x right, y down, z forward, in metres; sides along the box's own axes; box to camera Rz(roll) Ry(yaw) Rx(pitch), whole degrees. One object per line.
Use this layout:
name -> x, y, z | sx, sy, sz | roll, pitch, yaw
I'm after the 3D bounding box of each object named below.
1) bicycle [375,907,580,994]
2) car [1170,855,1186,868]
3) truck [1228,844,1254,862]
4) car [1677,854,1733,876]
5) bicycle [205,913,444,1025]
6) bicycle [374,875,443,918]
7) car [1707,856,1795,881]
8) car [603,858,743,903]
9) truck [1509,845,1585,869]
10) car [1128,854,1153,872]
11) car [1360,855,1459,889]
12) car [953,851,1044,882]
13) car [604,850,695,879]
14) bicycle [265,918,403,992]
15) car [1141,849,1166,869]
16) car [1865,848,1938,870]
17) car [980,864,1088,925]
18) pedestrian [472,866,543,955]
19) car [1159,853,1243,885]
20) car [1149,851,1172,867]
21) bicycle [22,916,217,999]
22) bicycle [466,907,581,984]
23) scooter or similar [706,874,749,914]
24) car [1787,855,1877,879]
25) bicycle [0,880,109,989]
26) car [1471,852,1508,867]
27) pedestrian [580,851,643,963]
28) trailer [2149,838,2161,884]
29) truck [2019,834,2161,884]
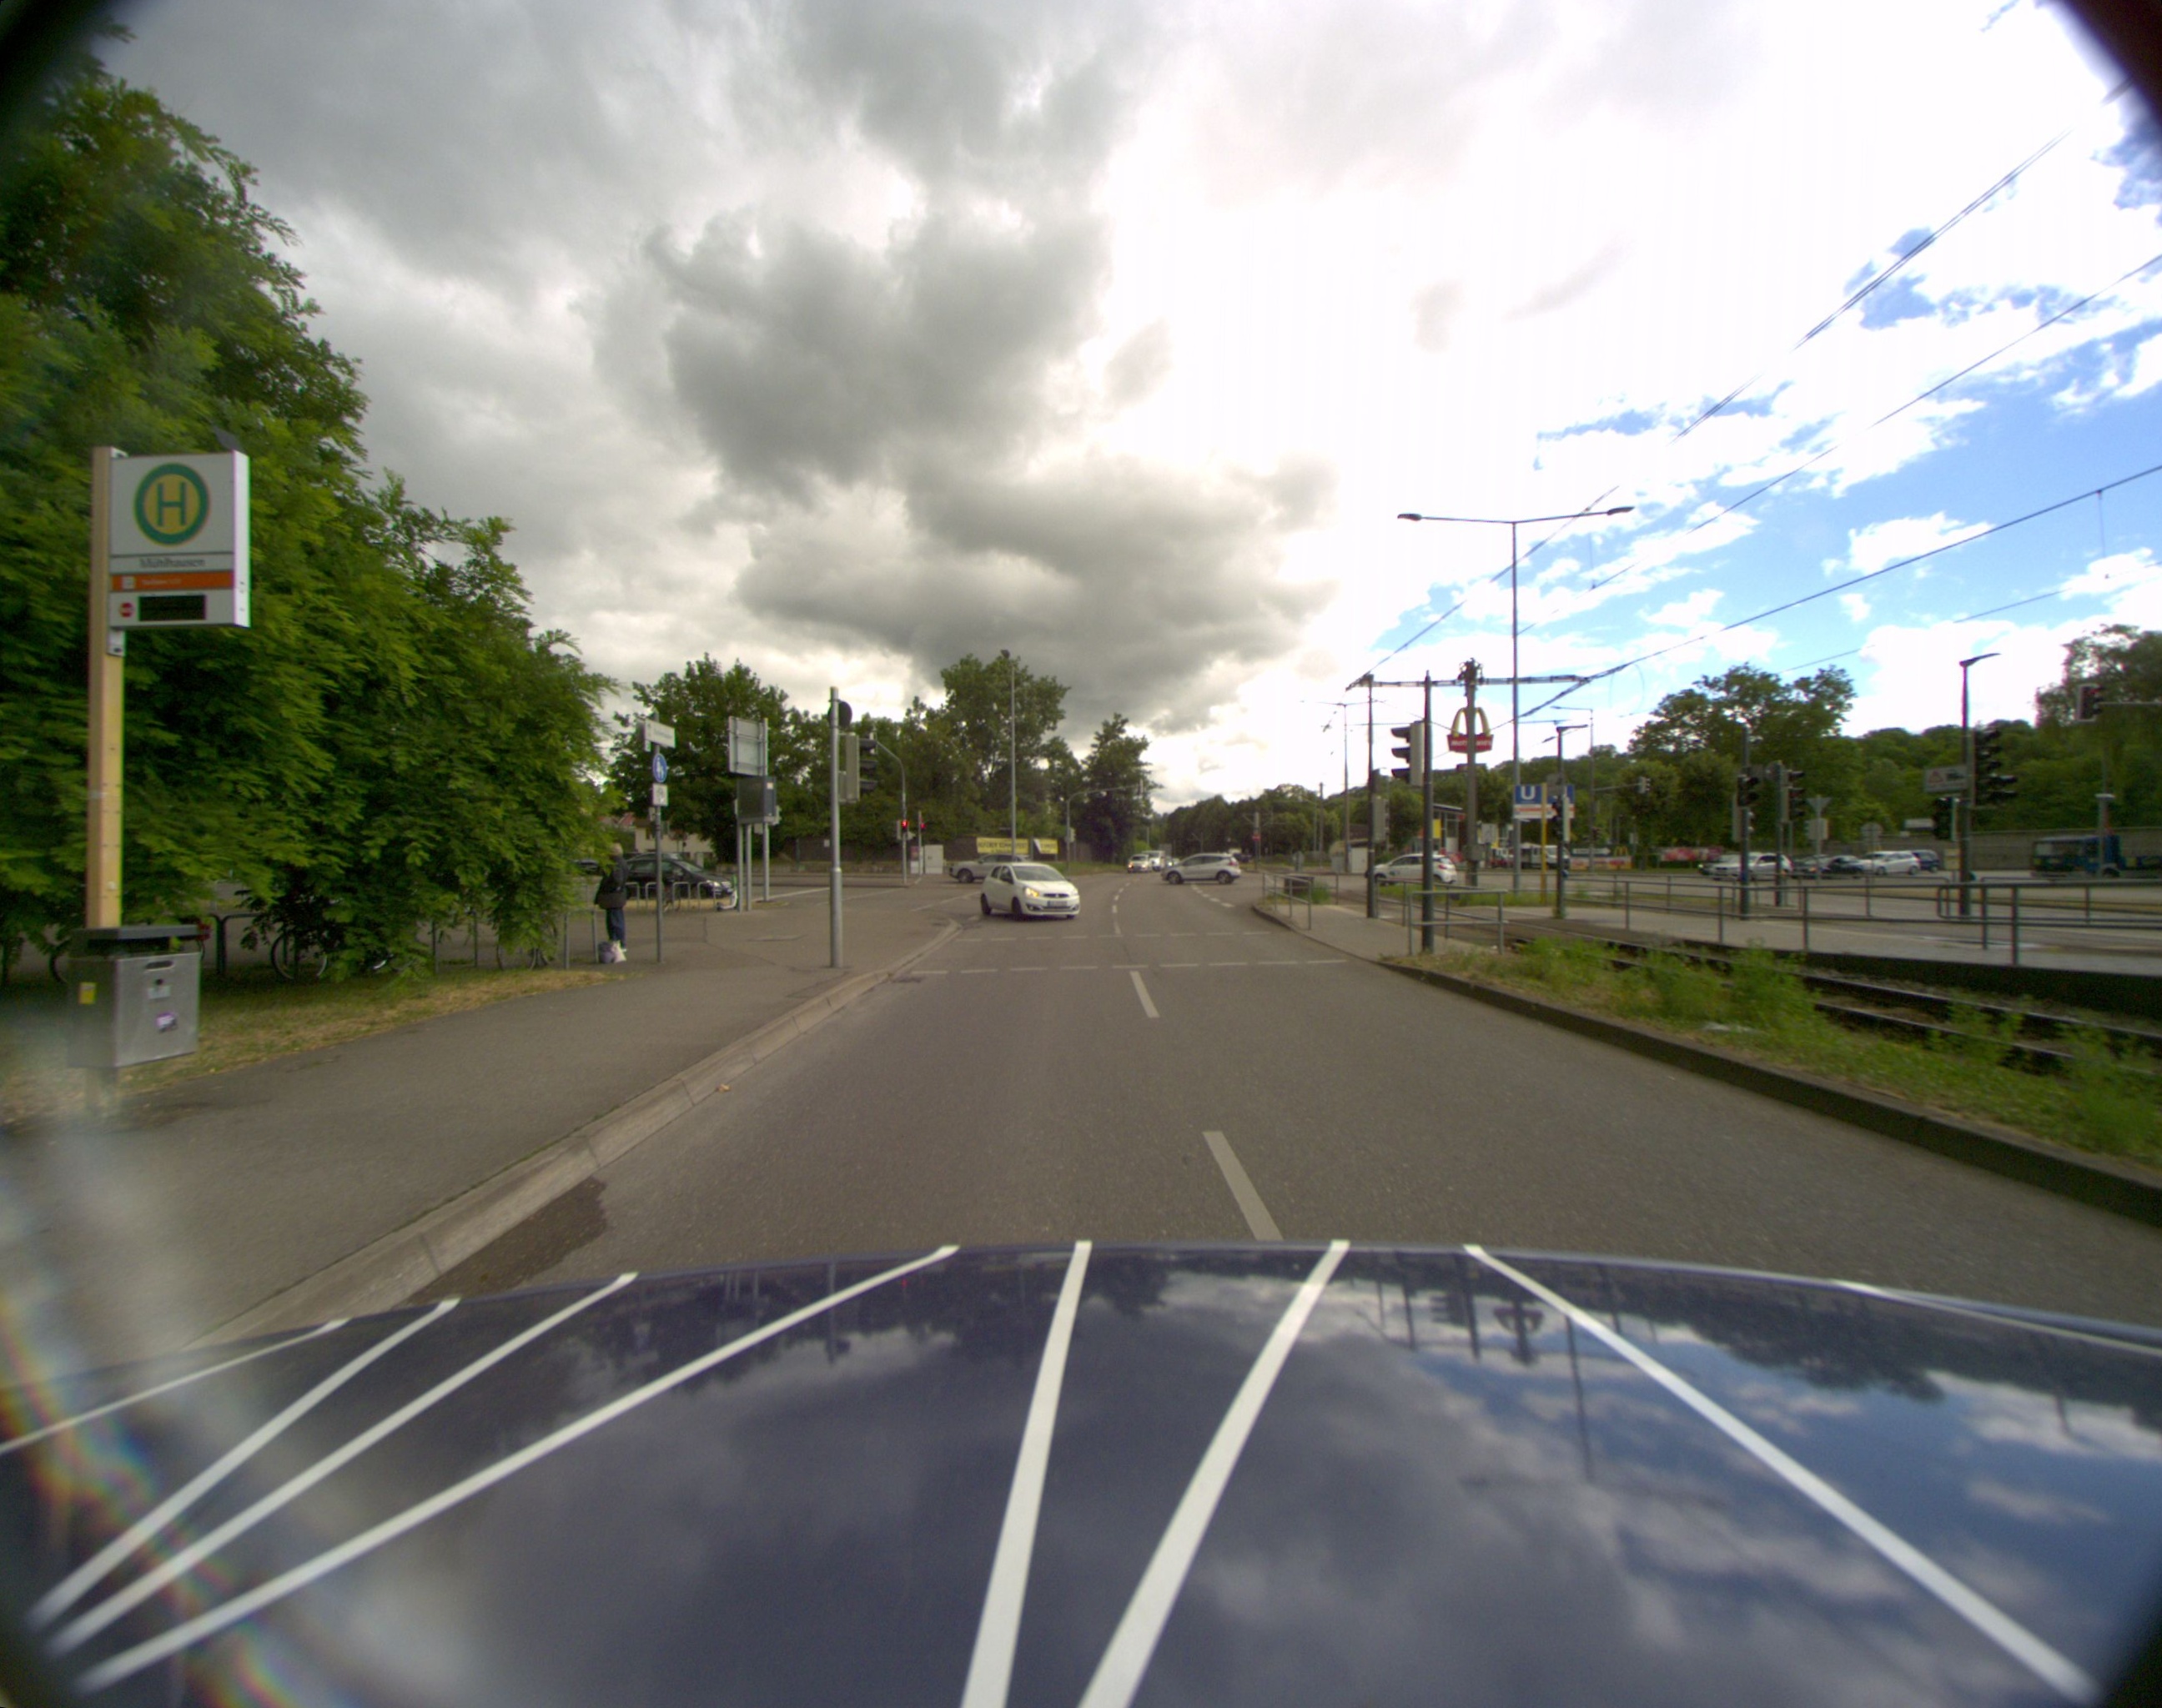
bicycle -> -6.767, 1.072, 8.570 | 1.871, 0.918, 0.545 | 0, -1, 0
car -> 12.837, 0.986, 100.339 | 1.829, 1.543, 4.003 | 1, 0, 10
truck -> 33.032, -0.193, 157.117 | 3.435, 3.539, 8.698 | 1, 0, 0
car -> 41.817, 0.704, 50.916 | 3.647, 1.423, 1.792 | 0, 0, -31
bicycle -> -7.122, 1.047, 7.161 | 2.041, 0.934, 0.592 | -1, 0, 13
bicycle -> -19.417, 1.211, 21.989 | 0.582, 1.109, 1.813 | 2, 1, -8
car -> 40.711, 0.834, 46.188 | 4.420, 1.423, 1.794 | -1, 0, -13
car -> -14.995, 0.939, 28.076 | 4.185, 1.522, 1.720 | 0, 1, -5
truck -> 39.415, 0.220, 64.500 | 2.599, 1.894, 6.197 | 1, 0, -1
car -> 4.958, 0.730, 62.912 | 1.718, 1.410, 4.003 | 1, 0, 10
car -> 15.019, 0.796, 34.823 | 3.818, 1.446, 1.636 | 0, 1, 42
car -> -4.499, 0.659, 41.815 | 4.852, 1.633, 1.676 | 0, 1, -1
car -> -22.571, 0.540, 39.841 | 3.789, 1.479, 1.675 | 0, 0, -10
bicycle -> -10.068, 1.333, 10.318 | 0.478, 0.803, 1.514 | -1, 0, -6
car -> 6.640, 0.439, 69.244 | 1.807, 1.814, 4.003 | 0, 0, 11
car -> 59.752, 0.363, 55.366 | 3.640, 1.545, 1.727 | 0, 0, -4
car -> -1.357, 1.005, 20.466 | 1.677, 1.439, 3.597 | -1, 0, -26
pedestrian -> -10.174, 0.986, 13.499 | 0.755, 1.505, 0.671 | 1, 1, -1
car -> 6.368, 0.770, 40.218 | 4.114, 1.631, 1.753 | 0, 0, 21
car -> 8.322, 0.521, 79.211 | 1.996, 1.527, 4.004 | 1, 0, 12
bicycle -> -12.591, 1.319, 10.039 | 0.478, 0.851, 1.738 | -1, 0, -6
bicycle -> -7.702, 1.226, 10.595 | 0.524, 0.900, 1.850 | 1, -1, -11
scooter or similar -> -10.545, 1.177, 22.690 | 0.654, 1.105, 1.231 | 0, 0, 2
car -> 46.366, 0.790, 46.935 | 4.284, 1.423, 1.795 | 0, 0, -9
bicycle -> -14.342, 1.068, 10.152 | 0.646, 1.363, 1.657 | -1, 0, -6
car -> 44.125, 0.600, 82.126 | 1.923, 1.512, 4.000 | 1, 0, 1
pedestrian -> -7.519, 0.827, 12.187 | 0.690, 1.744, 0.419 | -1, 1, -6
trailer -> 55.228, 0.372, 36.963 | 4.389, 2.245, 1.560 | 1, 1, -1
truck -> 53.220, 0.251, 39.522 | 5.821, 2.480, 2.386 | 0, 1, 1
